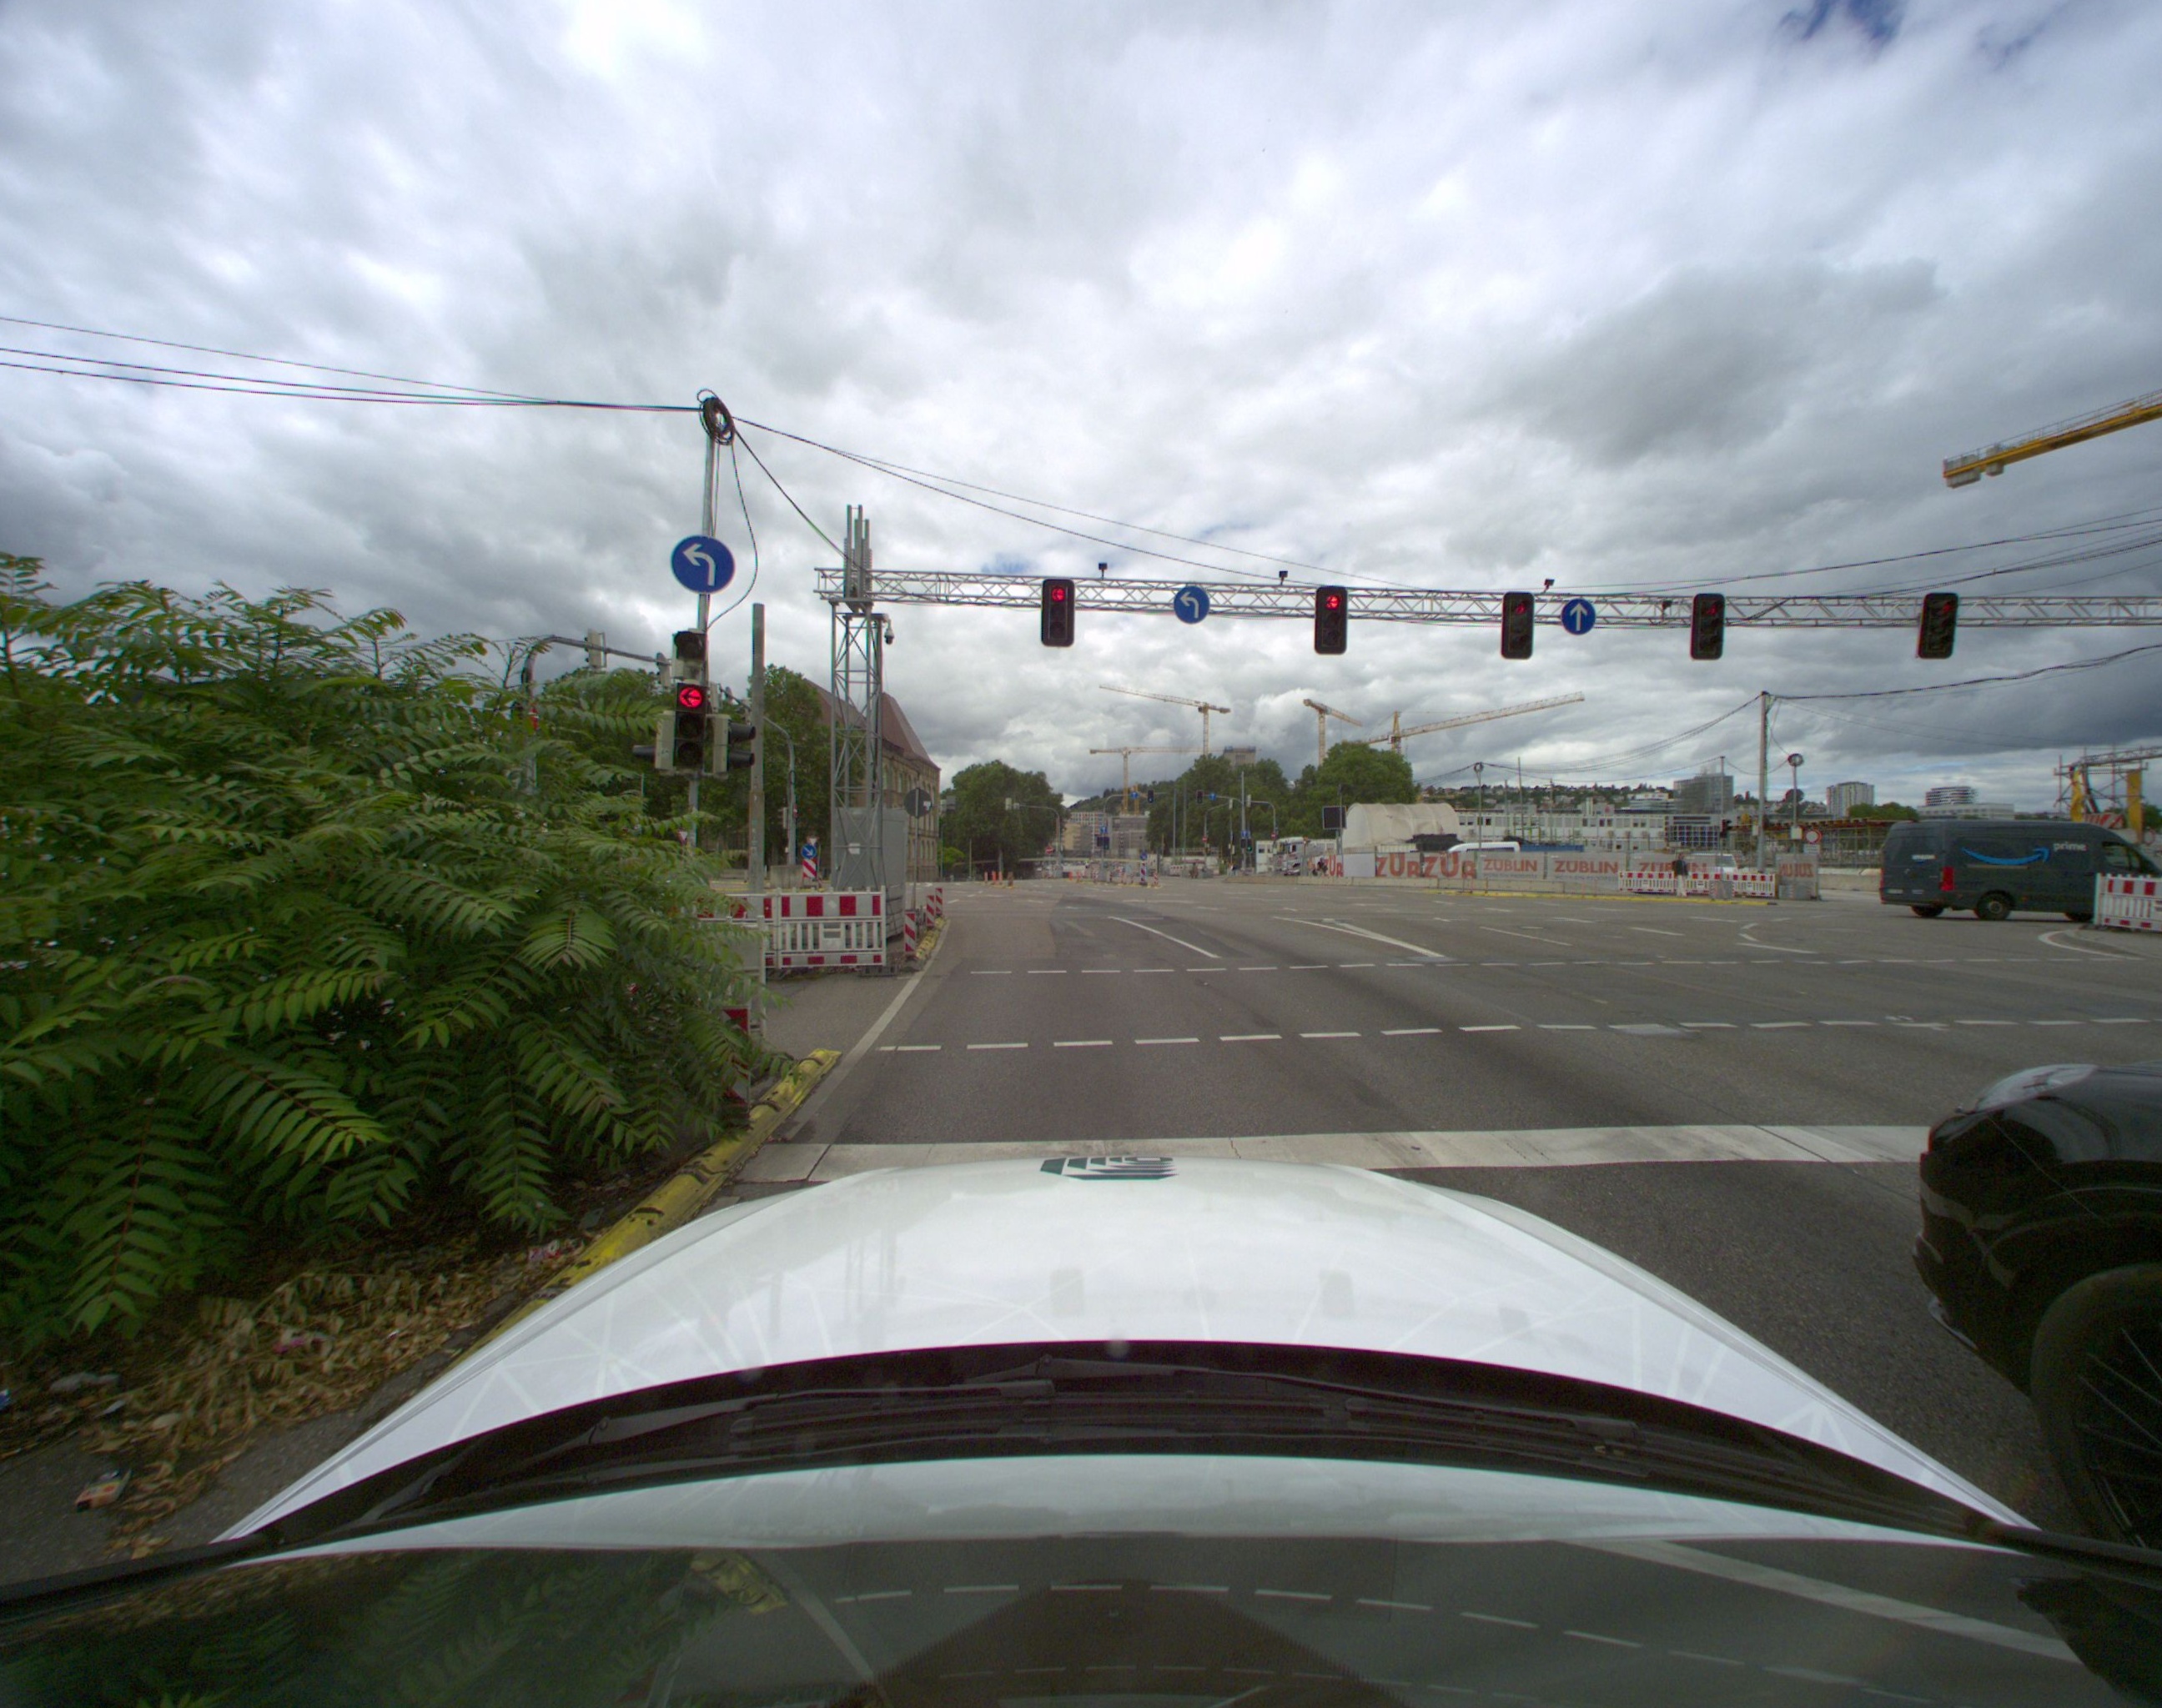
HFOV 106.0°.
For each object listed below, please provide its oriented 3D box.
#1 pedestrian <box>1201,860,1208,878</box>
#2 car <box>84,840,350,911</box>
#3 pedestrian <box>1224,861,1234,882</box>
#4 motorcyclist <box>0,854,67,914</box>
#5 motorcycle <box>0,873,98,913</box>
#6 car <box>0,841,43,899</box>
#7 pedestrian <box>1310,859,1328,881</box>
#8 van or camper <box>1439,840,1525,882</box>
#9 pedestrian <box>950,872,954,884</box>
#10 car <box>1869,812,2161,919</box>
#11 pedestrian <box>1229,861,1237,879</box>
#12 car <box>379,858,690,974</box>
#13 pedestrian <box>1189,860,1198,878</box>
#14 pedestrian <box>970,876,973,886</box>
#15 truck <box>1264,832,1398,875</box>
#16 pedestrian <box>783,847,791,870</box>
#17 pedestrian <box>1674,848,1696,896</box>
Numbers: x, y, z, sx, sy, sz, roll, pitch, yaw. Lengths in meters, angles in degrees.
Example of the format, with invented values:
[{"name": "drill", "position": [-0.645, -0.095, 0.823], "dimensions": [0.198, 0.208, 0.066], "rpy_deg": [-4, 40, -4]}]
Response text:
[{"name": "pedestrian", "position": [11.714, 1.383, 77.254], "dimensions": [0.564, 1.689, 0.472], "rpy_deg": [0, 0, 1]}, {"name": "car", "position": [-21.301, 0.515, 20.254], "dimensions": [4.302, 1.676, 1.998], "rpy_deg": [0, 0, -3]}, {"name": "pedestrian", "position": [12.252, 1.423, 67.405], "dimensions": [0.726, 1.689, 0.678], "rpy_deg": [0, 0, 1]}, {"name": "motorcyclist", "position": [-25.623, 0.718, 19.797], "dimensions": [0.963, 1.423, 0.745], "rpy_deg": [0, 0, -4]}, {"name": "motorcycle", "position": [-25.478, 0.935, 19.812], "dimensions": [2.051, 0.924, 0.756], "rpy_deg": [0, 0, -4]}, {"name": "car", "position": [-33.324, 0.455, 23.362], "dimensions": [4.302, 1.676, 1.998], "rpy_deg": [0, 0, -3]}, {"name": "pedestrian", "position": [15.405, 1.043, 52.735], "dimensions": [0.798, 1.378, 0.900], "rpy_deg": [0, 0, -14]}, {"name": "van or camper", "position": [23.149, 0.416, 47.198], "dimensions": [4.181, 2.357, 2.009], "rpy_deg": [0, 0, 16]}, {"name": "pedestrian", "position": [-21.207, 3.909, 133.948], "dimensions": [0.522, 2.014, 0.567], "rpy_deg": [0, 0, 2]}, {"name": "car", "position": [24.596, 0.278, 21.081], "dimensions": [5.959, 2.594, 2.069], "rpy_deg": [0, 0, 8]}, {"name": "pedestrian", "position": [14.606, 1.557, 78.265], "dimensions": [0.615, 1.689, 0.716], "rpy_deg": [0, 0, 31]}, {"name": "car", "position": [-8.056, 0.797, 12.672], "dimensions": [1.695, 1.471, 4.629], "rpy_deg": [0, 0, 0]}, {"name": "pedestrian", "position": [10.675, 1.394, 77.166], "dimensions": [0.726, 1.689, 0.678], "rpy_deg": [0, 0, 1]}, {"name": "pedestrian", "position": [-21.412, 5.221, 159.284], "dimensions": [0.522, 2.014, 0.567], "rpy_deg": [0, 0, 2]}, {"name": "truck", "position": [25.038, -0.036, 81.584], "dimensions": [13.062, 4.041, 3.926], "rpy_deg": [0, 0, -18]}, {"name": "pedestrian", "position": [-26.736, 0.404, 74.131], "dimensions": [0.530, 2.014, 0.423], "rpy_deg": [1, -1, -42]}, {"name": "pedestrian", "position": [25.420, 0.760, 34.288], "dimensions": [0.645, 2.013, 0.520], "rpy_deg": [0, 0, 27]}]
